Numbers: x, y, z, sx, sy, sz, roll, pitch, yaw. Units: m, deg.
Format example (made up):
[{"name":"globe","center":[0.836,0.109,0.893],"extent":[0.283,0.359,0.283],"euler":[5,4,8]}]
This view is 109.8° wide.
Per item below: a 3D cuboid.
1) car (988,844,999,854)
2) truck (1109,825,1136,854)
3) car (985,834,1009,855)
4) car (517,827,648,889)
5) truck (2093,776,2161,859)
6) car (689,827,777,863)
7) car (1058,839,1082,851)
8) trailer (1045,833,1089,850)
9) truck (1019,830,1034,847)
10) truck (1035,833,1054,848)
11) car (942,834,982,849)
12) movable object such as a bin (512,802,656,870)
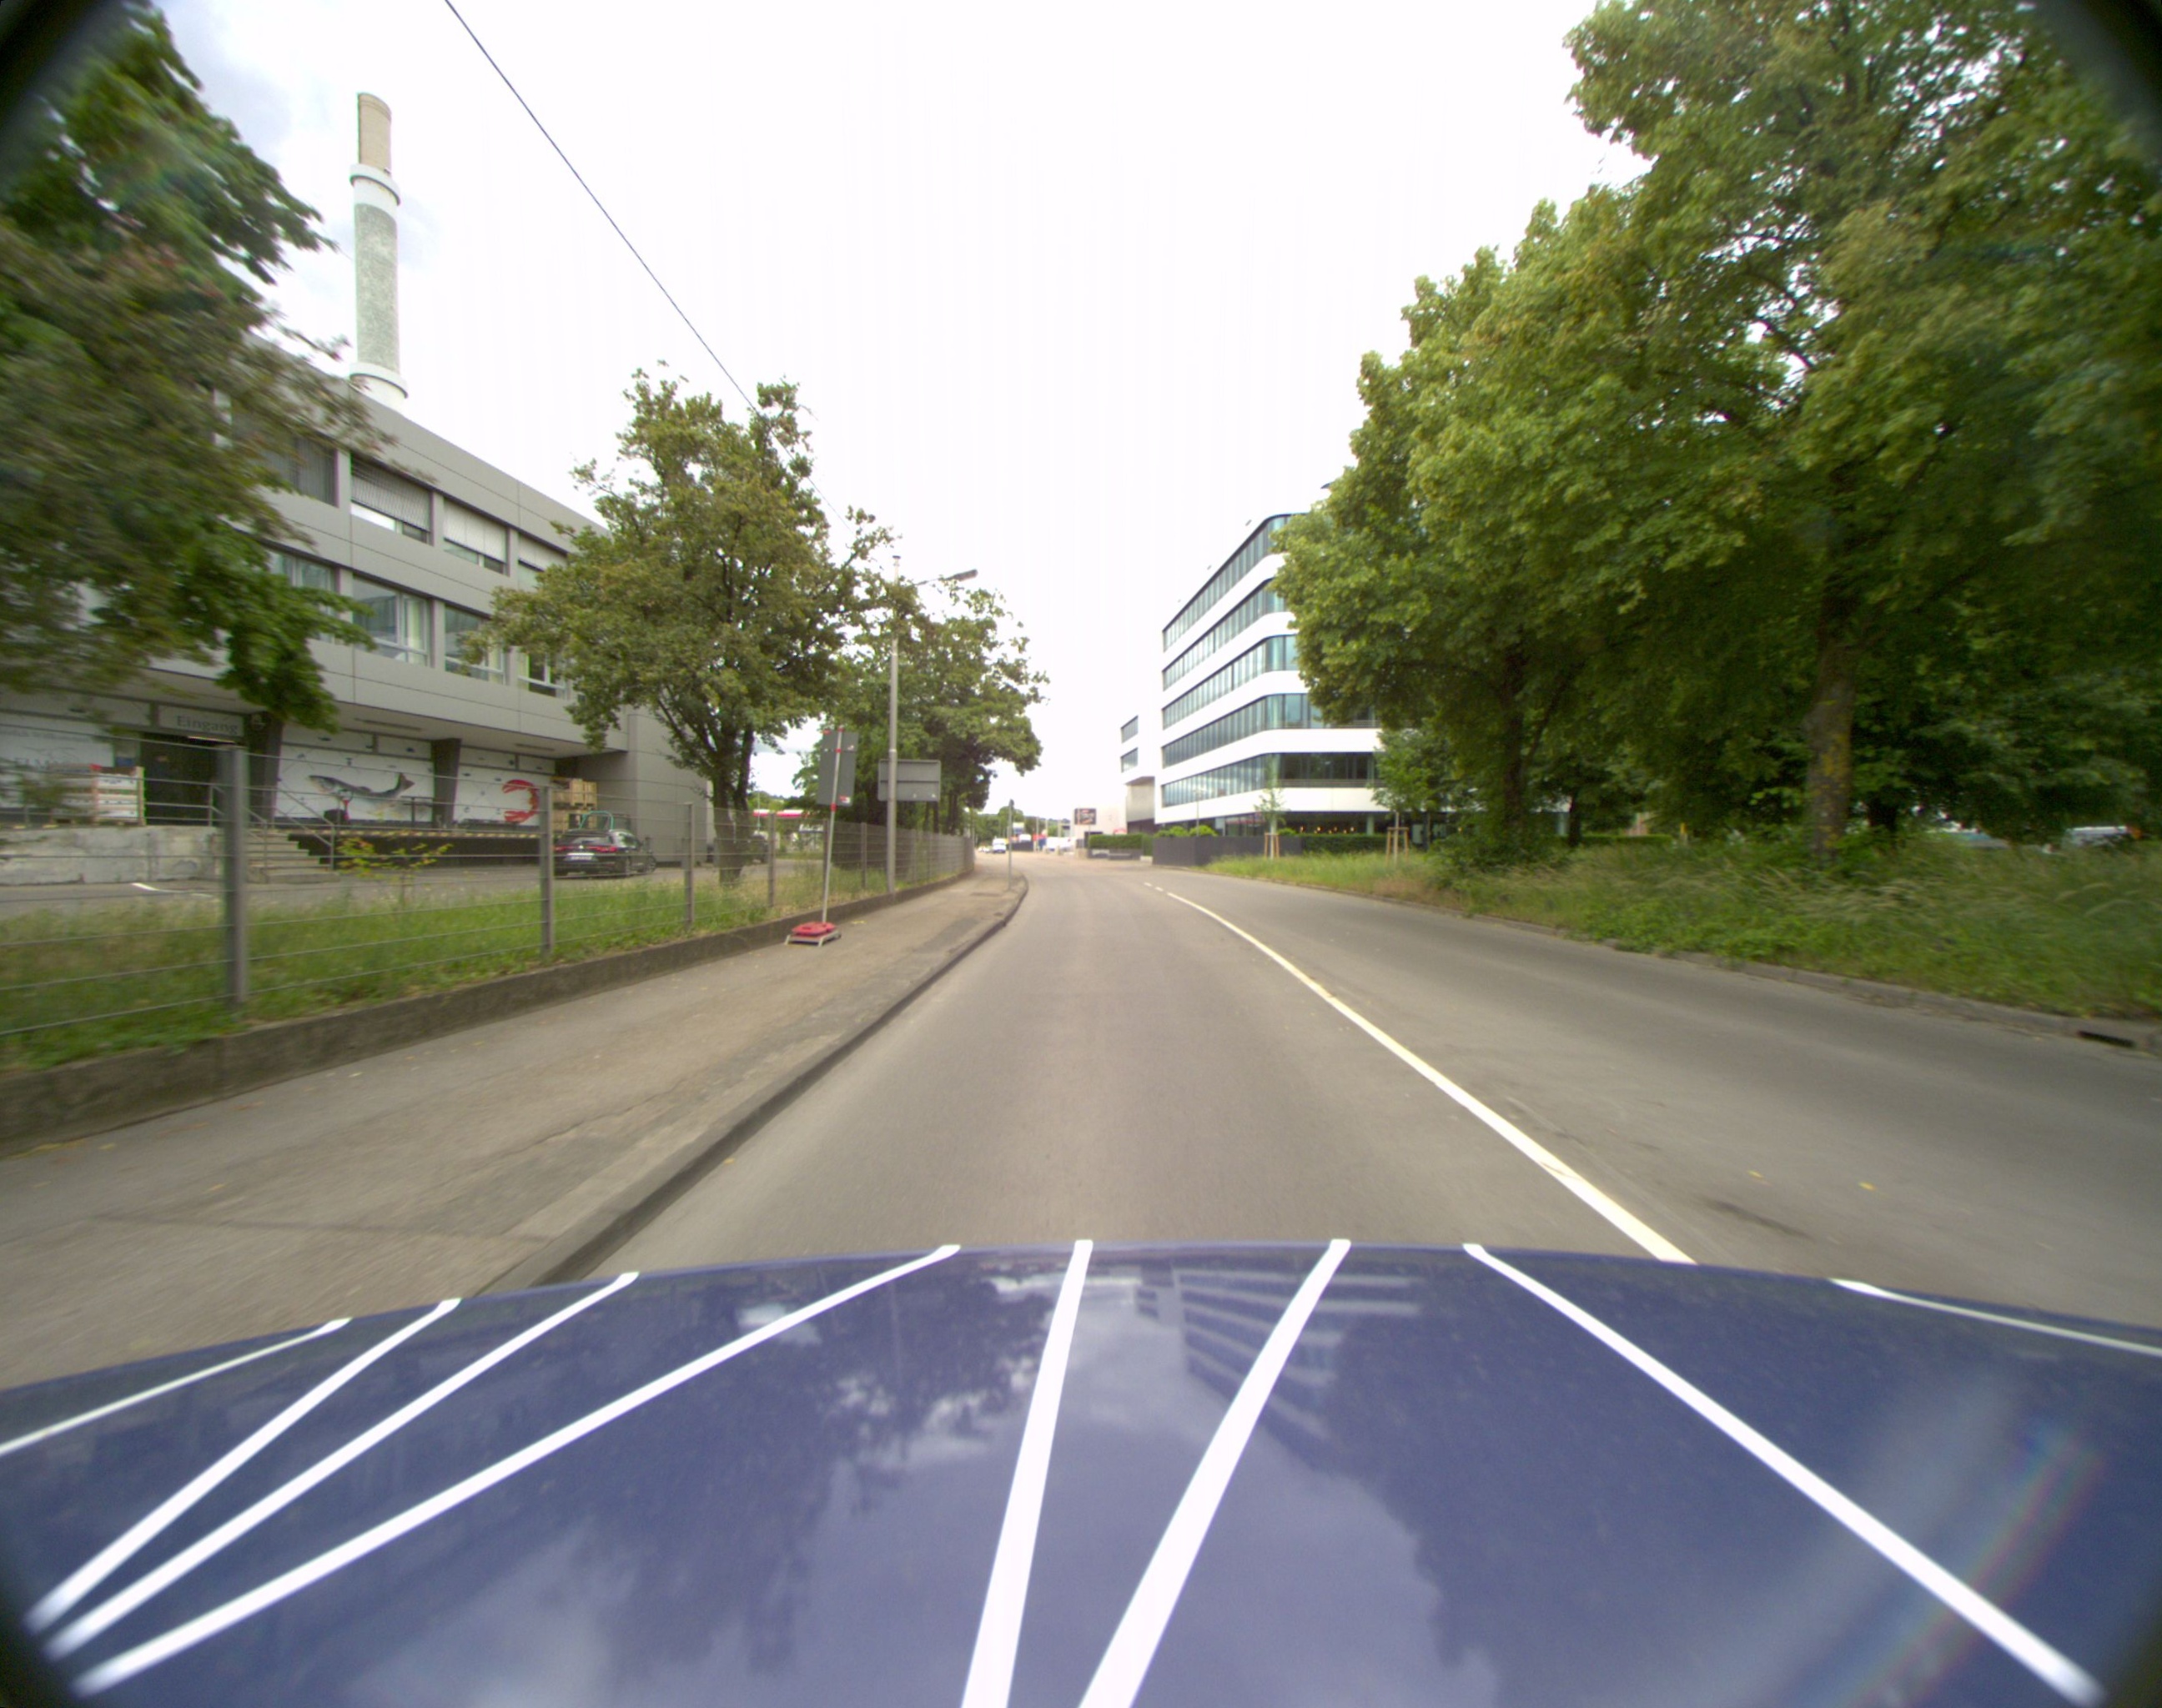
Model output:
[{"name":"car","center":[-17.212,-0.954,149.139],"extent":[1.714,2.002,3.884],"euler":[0,1,-14]},{"name":"truck","center":[6.071,-2.059,110.288],"extent":[2.746,4.007,7.099],"euler":[0,1,12]},{"name":"car","center":[-14.704,-1.640,132.889],"extent":[3.342,3.586,8.659],"euler":[0,0,-12]},{"name":"car","center":[-13.755,0.053,20.847],"extent":[4.678,1.465,2.004],"euler":[3,2,44]},{"name":"truck","center":[33.771,-1.067,19.238],"extent":[2.980,2.507,10.250],"euler":[1,0,4]},{"name":"car","center":[-17.231,-0.450,37.899],"extent":[1.998,1.558,4.442],"euler":[3,1,4]},{"name":"car","center":[-2.609,-2.076,182.886],"extent":[5.426,2.715,2.243],"euler":[-1,0,10]},{"name":"trailer","center":[-3.968,-3.558,215.505],"extent":[12.028,4.109,3.050],"euler":[2,1,10]},{"name":"truck","center":[-13.341,-3.728,184.919],"extent":[3.369,4.136,5.623],"euler":[2,1,-5]},{"name":"truck","center":[-10.454,-3.810,215.876],"extent":[4.882,4.109,3.045],"euler":[2,1,-8]},{"name":"car","center":[-13.785,-1.455,88.178],"extent":[4.201,1.754,1.814],"euler":[-1,1,5]},{"name":"movable object such as a bin","center":[-18.132,-0.656,27.836],"extent":[3.995,2.292,1.952],"euler":[1,1,4]}]
